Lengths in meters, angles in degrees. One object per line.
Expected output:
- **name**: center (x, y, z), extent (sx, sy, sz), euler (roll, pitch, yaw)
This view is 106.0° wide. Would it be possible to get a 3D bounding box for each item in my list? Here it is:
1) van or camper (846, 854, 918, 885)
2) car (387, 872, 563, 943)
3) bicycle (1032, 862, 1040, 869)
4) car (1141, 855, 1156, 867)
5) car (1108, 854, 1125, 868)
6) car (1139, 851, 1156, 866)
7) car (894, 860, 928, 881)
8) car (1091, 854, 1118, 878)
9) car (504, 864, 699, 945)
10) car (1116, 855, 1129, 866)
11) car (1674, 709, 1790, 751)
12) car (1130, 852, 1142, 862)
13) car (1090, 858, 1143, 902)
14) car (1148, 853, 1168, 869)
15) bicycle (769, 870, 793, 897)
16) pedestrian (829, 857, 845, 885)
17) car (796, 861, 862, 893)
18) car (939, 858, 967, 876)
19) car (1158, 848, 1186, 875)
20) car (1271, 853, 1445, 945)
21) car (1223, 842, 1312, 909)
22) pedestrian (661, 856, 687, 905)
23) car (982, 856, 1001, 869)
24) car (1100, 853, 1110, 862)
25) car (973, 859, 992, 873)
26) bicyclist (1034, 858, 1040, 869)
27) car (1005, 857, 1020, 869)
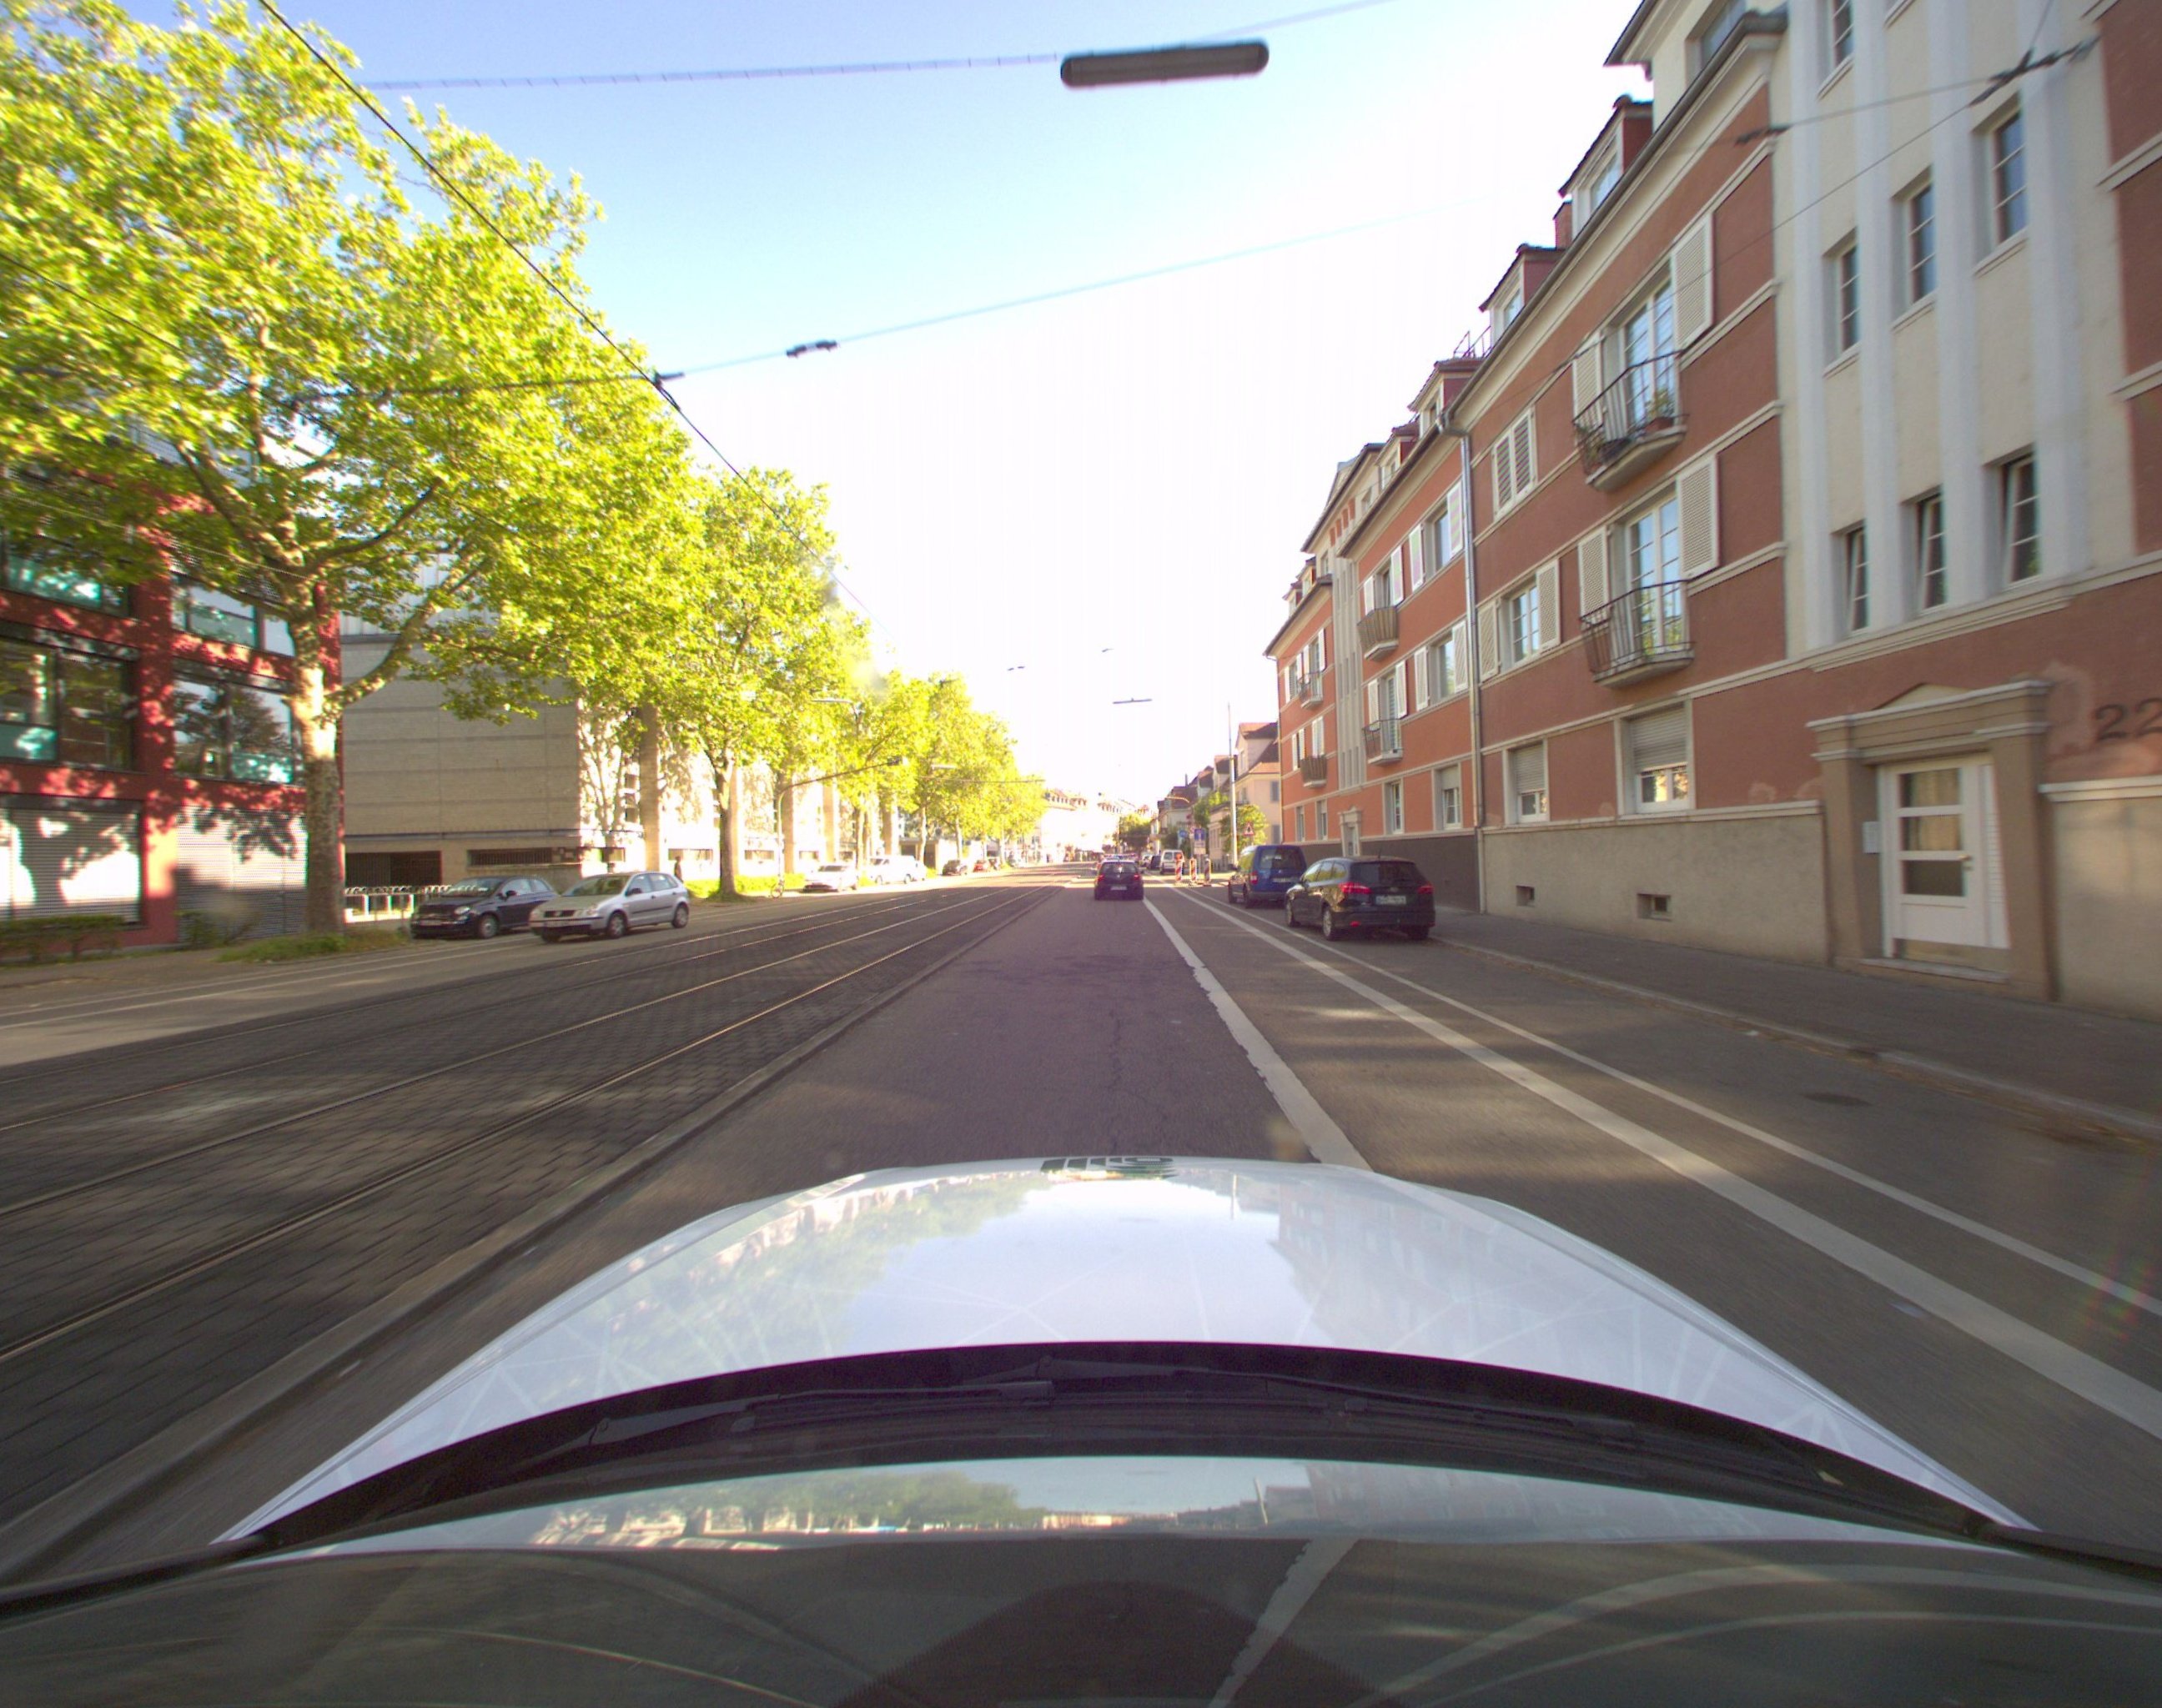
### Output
- **van or camper**: center (-13.193, 0.998, 54.354), extent (2.042, 1.949, 5.217), euler (0, 0, 22)
- **car**: center (-14.502, 1.232, 19.733), extent (1.501, 1.454, 3.466), euler (-1, 0, 3)
- **bicycle**: center (-7.479, 1.903, 135.632), extent (0.910, 1.083, 3.204), euler (0, 0, 2)
- **car**: center (8.002, 0.856, 97.004), extent (1.574, 1.375, 4.002), euler (-1, 0, 2)
- **car**: center (3.683, 0.707, 84.620), extent (1.630, 1.472, 3.731), euler (-1, 0, 2)
- **car**: center (8.290, 0.561, 101.912), extent (1.810, 1.799, 4.002), euler (-1, 0, 2)
- **car**: center (-12.863, 1.234, 61.812), extent (1.568, 1.507, 4.092), euler (0, 0, 2)
- **car**: center (1.656, 0.797, 55.604), extent (1.741, 1.537, 3.894), euler (-2, 0, 3)
- **car**: center (-10.707, 1.049, 18.589), extent (1.745, 1.518, 4.076), euler (-3, 0, 4)
- **car**: center (5.766, 0.937, 113.544), extent (1.630, 1.472, 3.731), euler (-1, 0, 2)
- **car**: center (30.105, -5.724, 37.733), extent (3.977, 1.651, 1.909), euler (0, 0, -3)
- **car**: center (8.628, 0.456, 127.583), extent (1.630, 1.472, 3.731), euler (-1, 0, 2)
- **car**: center (1.212, 0.873, 29.224), extent (1.742, 1.375, 4.001), euler (-2, 0, 1)
- **car**: center (7.452, 0.662, 79.299), extent (1.654, 1.526, 4.038), euler (-1, 0, 2)
- **bicycle**: center (-14.152, 1.367, 38.431), extent (0.580, 1.209, 1.651), euler (0, 0, -4)
- **pedestrian**: center (-15.791, 1.105, 52.759), extent (0.793, 1.820, 0.670), euler (0, 0, 2)
- **car**: center (-13.517, 1.203, 44.002), extent (2.005, 1.572, 4.694), euler (0, 0, 1)
- **car**: center (-12.304, 1.228, 78.398), extent (1.880, 1.666, 4.002), euler (-1, 0, 2)
- **car**: center (6.649, 0.521, 59.544), extent (1.752, 1.838, 3.549), euler (0, 0, 2)
- **car**: center (5.101, 0.736, 15.745), extent (1.748, 1.511, 4.762), euler (0, 0, 0)
- **car**: center (5.432, 0.584, 24.229), extent (1.697, 1.810, 4.272), euler (0, 0, 1)
- **pedestrian**: center (-16.020, 1.027, 32.034), extent (0.777, 1.870, 0.675), euler (0, 0, 42)
- **car**: center (-11.428, 1.080, 104.481), extent (1.785, 1.465, 3.837), euler (1, 0, 2)
- **car**: center (4.221, 0.577, 142.078), extent (1.630, 1.472, 3.731), euler (-4, 0, 2)
- **car**: center (-11.472, 1.410, 95.142), extent (1.564, 1.533, 3.574), euler (-1, -1, 2)
- **bicyclist**: center (-7.359, 1.531, 135.427), extent (0.910, 1.833, 0.961), euler (0, 0, 2)
- **car**: center (-10.339, 1.338, 123.974), extent (1.877, 1.669, 3.805), euler (0, 0, 1)
